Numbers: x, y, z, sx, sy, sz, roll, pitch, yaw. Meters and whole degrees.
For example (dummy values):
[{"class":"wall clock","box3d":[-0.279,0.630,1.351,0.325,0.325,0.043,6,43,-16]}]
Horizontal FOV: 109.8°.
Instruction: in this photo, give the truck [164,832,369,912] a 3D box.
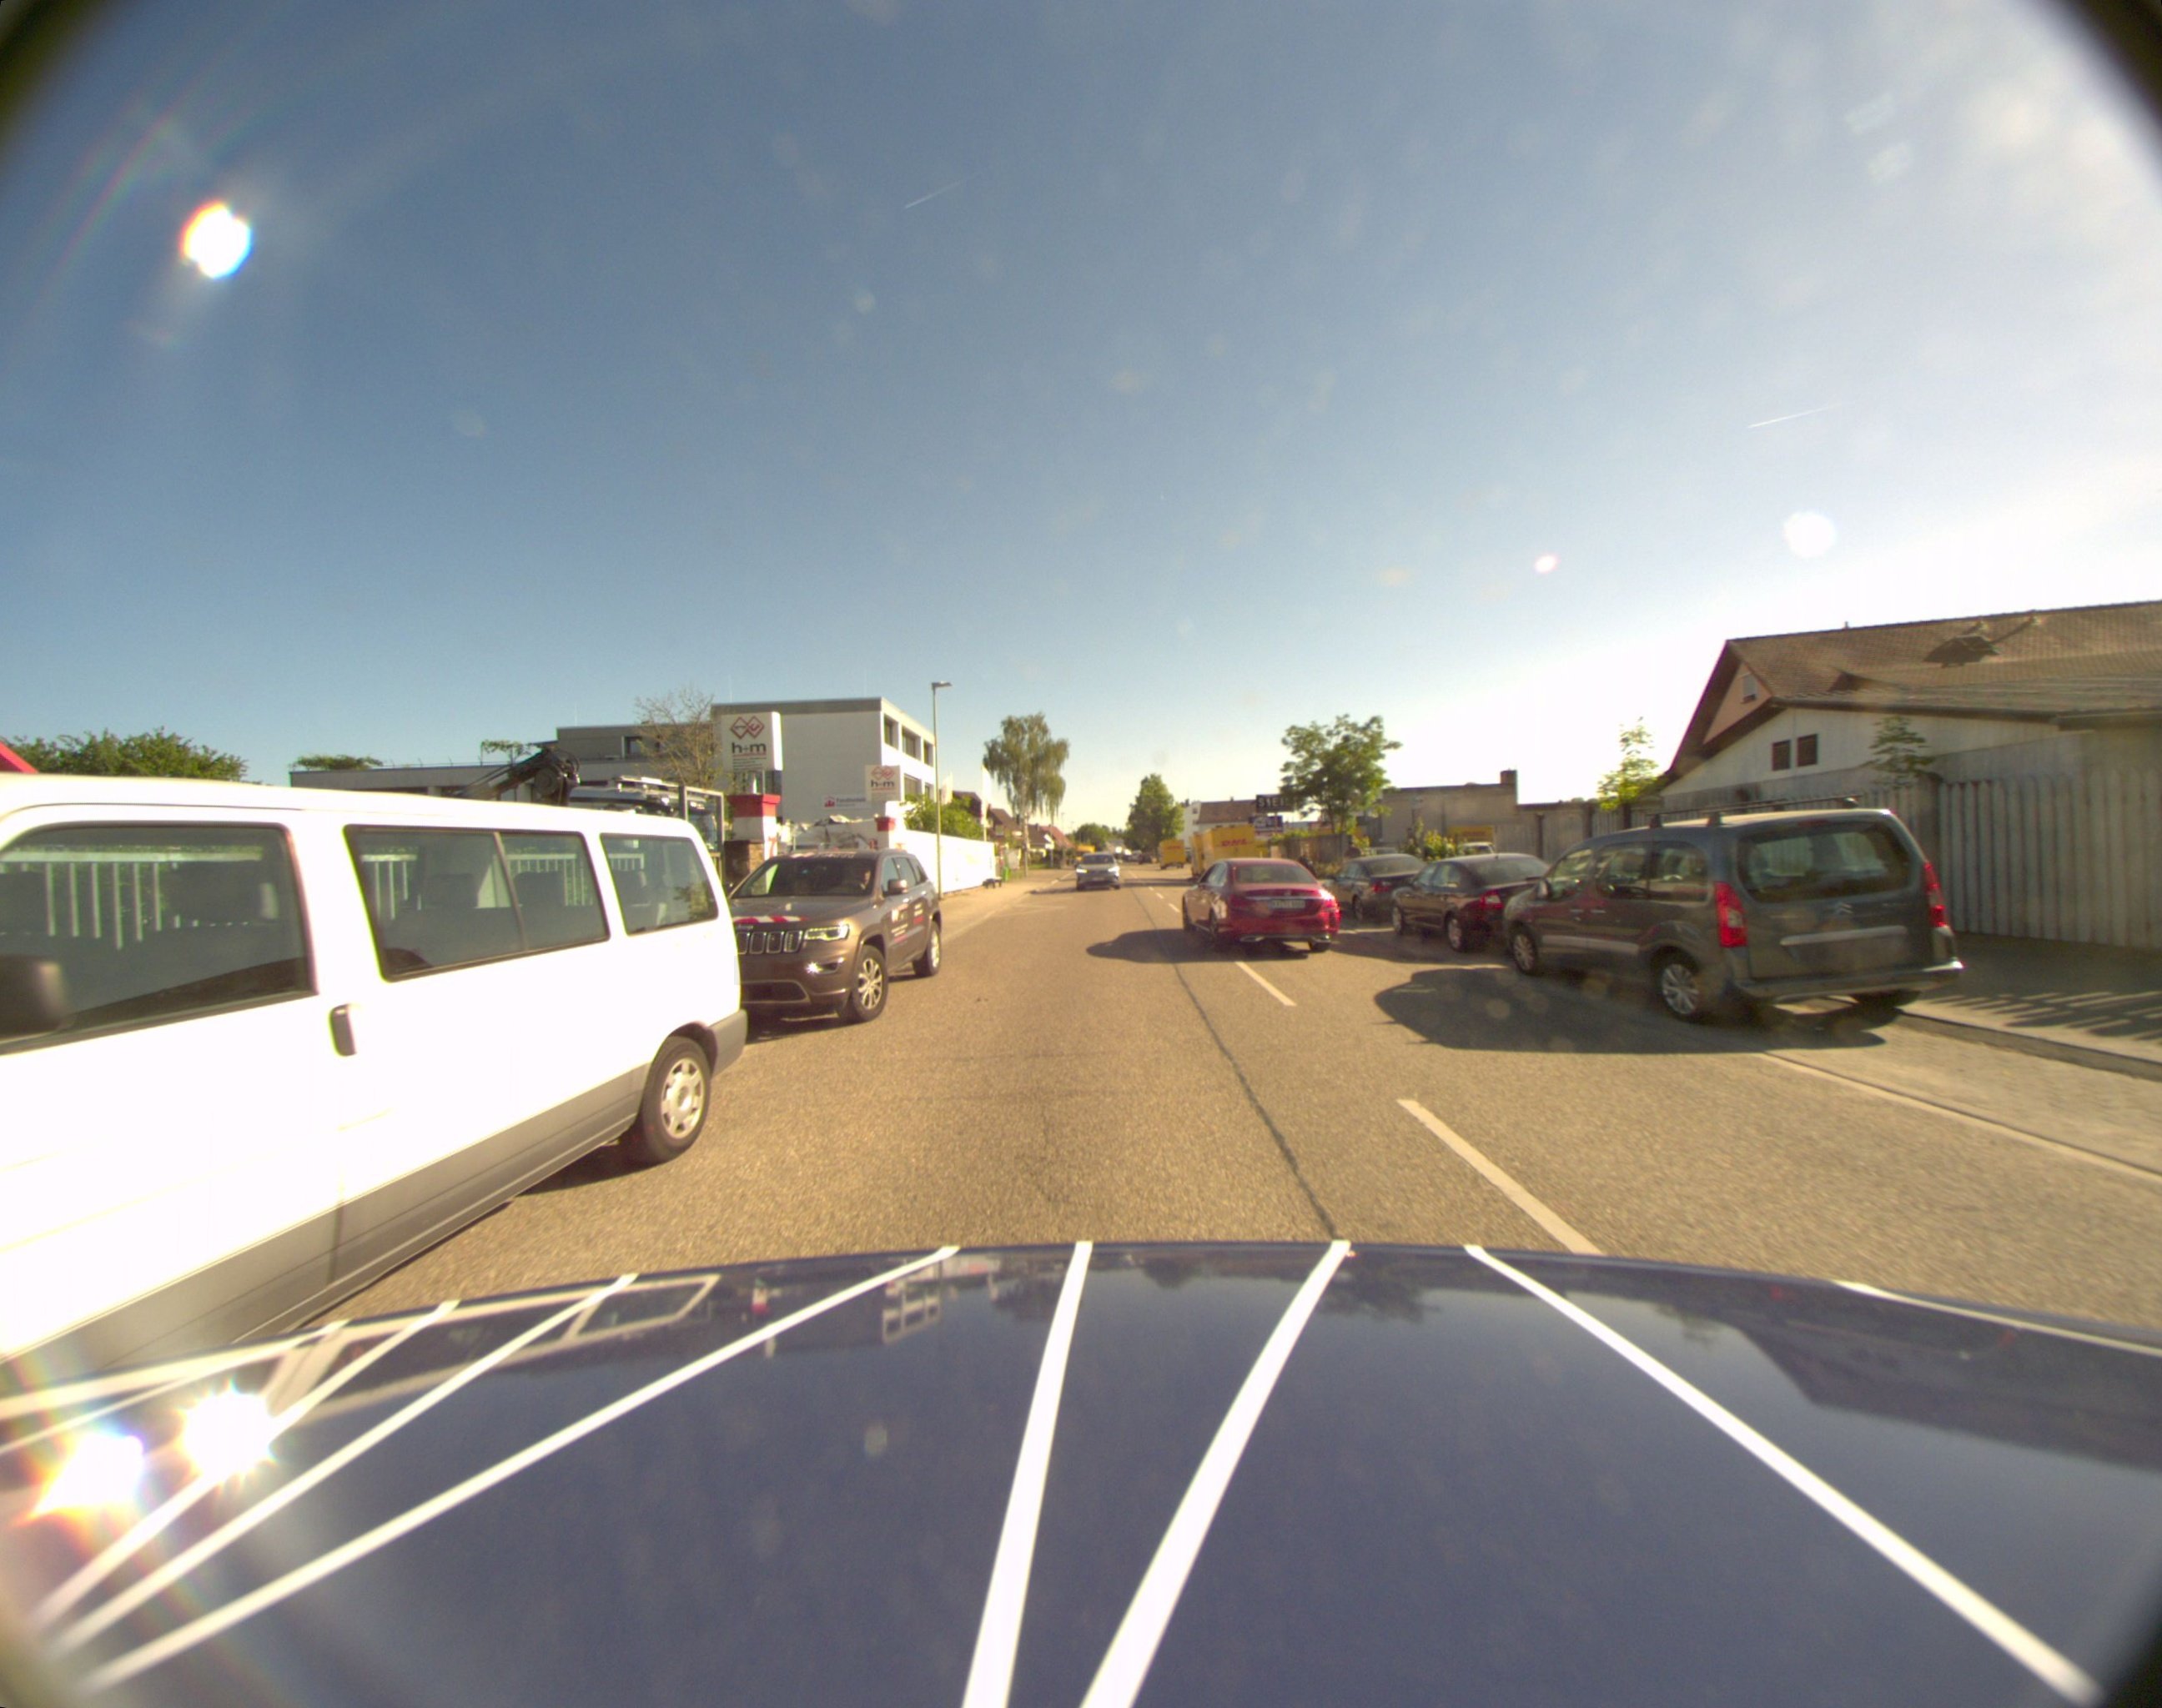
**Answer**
[{"class":"truck","box3d":[-35.518,0.746,33.284,6.010,3.034,2.741,-3,1,3]}]

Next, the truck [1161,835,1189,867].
[{"class":"truck","box3d":[9.541,-0.338,77.601,2.286,3.012,5.911,-3,1,2]}]

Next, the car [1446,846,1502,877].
[{"class":"car","box3d":[20.370,0.349,39.522,1.648,1.521,4.004,-1,0,13]}]

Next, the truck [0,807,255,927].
[{"class":"truck","box3d":[-30.829,0.416,23.888,6.499,3.325,2.608,-3,1,-1]}]

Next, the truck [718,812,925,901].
[{"class":"truck","box3d":[-8.788,0.099,26.082,6.237,2.800,2.381,-1,0,5]}]

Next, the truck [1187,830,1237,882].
[{"class":"truck","box3d":[7.912,0.091,46.497,2.144,2.857,5.750,-3,0,2]}]

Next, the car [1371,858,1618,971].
[{"class":"car","box3d":[6.671,0.868,12.947,1.780,1.439,4.615,-4,0,2]}]

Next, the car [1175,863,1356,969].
[{"class":"car","box3d":[2.839,0.891,12.806,1.875,1.412,4.529,0,0,-1]}]

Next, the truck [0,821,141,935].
[{"class":"truck","box3d":[-30.480,0.678,20.429,7.165,2.850,2.609,-1,0,1]}]

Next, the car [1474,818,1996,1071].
[{"class":"car","box3d":[6.149,0.692,8.089,1.779,1.838,4.616,-4,0,5]}]

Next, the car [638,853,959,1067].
[{"class":"car","box3d":[-2.878,0.938,9.131,1.806,1.733,4.912,-3,1,2]}]

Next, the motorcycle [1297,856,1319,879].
[{"class":"motorcycle","box3d":[11.024,0.643,36.959,0.537,1.051,2.071,-4,0,5]}]

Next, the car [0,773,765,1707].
[{"class":"car","box3d":[-3.133,0.806,2.527,1.896,1.914,4.921,-1,0,2]}]

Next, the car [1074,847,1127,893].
[{"class":"car","box3d":[0.831,0.646,32.369,1.998,1.750,5.016,-2,0,2]}]

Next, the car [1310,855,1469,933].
[{"class":"car","box3d":[6.897,0.802,17.619,1.780,1.439,4.924,-4,0,2]}]

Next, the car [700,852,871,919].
[{"class":"car","box3d":[-8.491,0.848,21.923,4.296,1.732,1.979,1,1,17]}]

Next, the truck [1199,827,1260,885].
[{"class":"truck","box3d":[7.619,0.062,39.661,2.173,2.698,5.750,-3,1,2]}]

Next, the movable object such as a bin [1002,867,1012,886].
[{"class":"movable object such as a bin","box3d":[-3.697,1.114,38.196,0.383,0.950,0.567,-1,1,5]}]

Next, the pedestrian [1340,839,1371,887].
[{"class":"pedestrian","box3d":[10.445,0.340,28.923,0.820,1.733,0.751,-3,1,-5]}]
